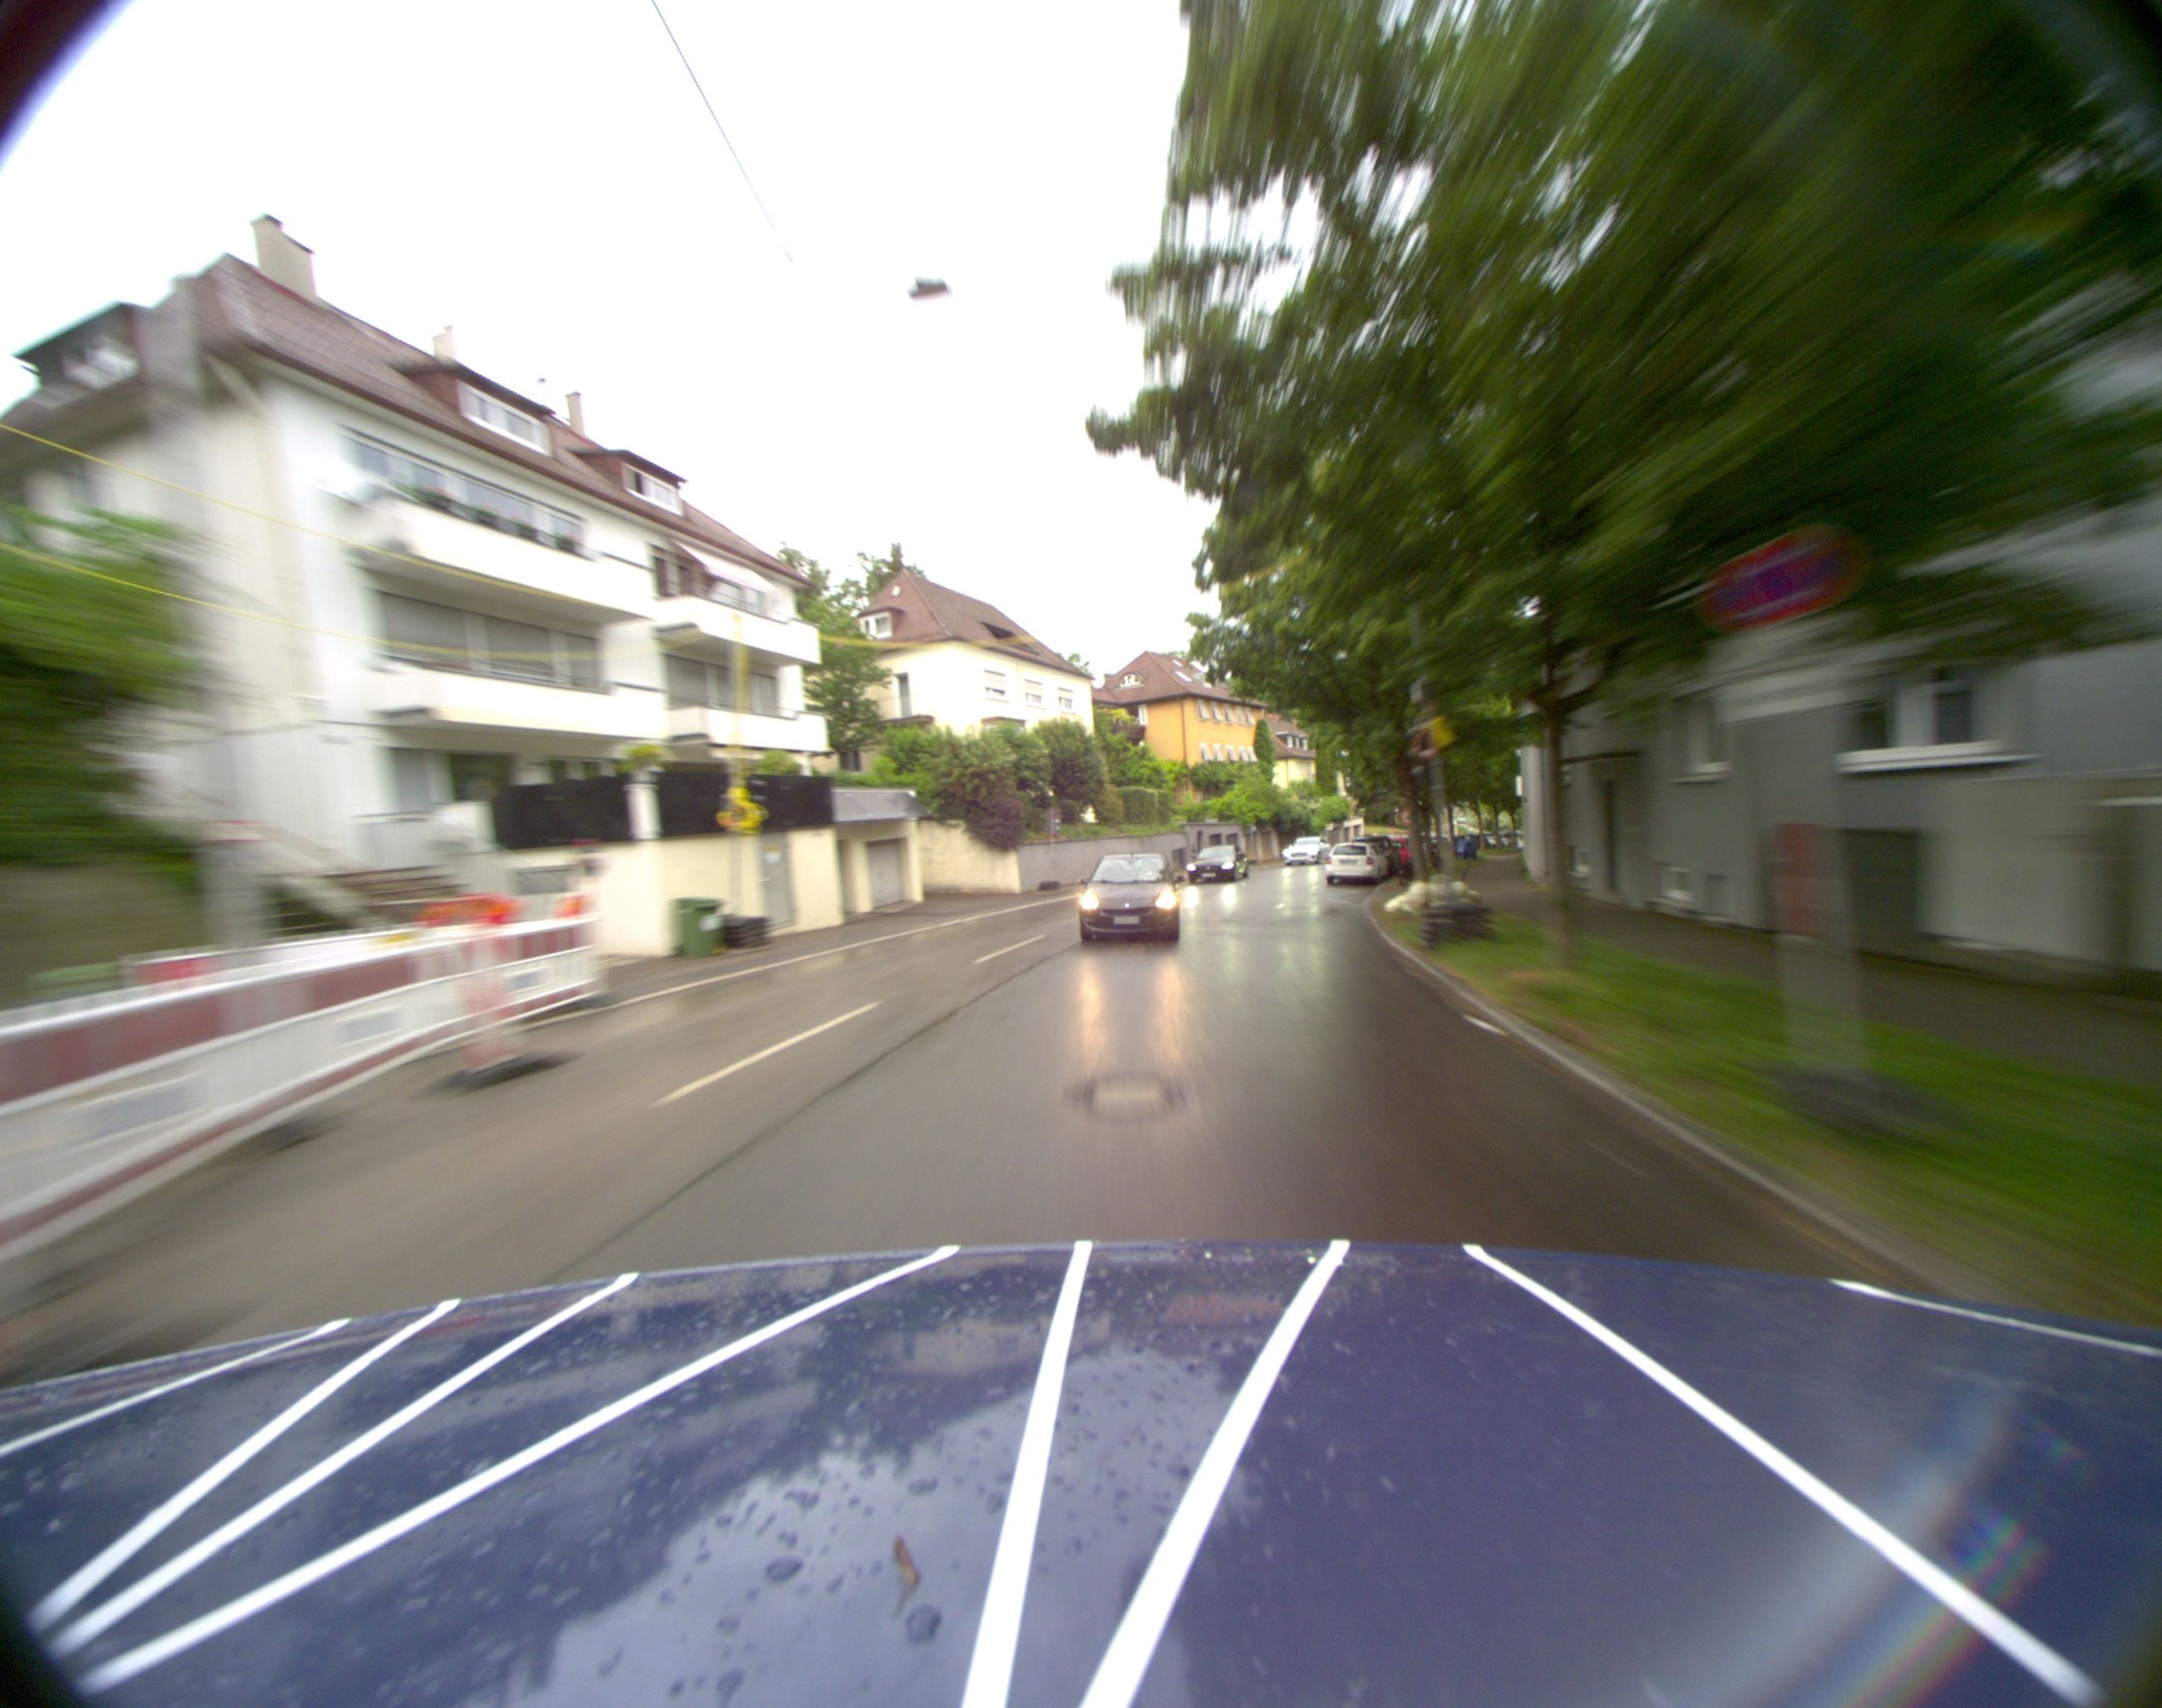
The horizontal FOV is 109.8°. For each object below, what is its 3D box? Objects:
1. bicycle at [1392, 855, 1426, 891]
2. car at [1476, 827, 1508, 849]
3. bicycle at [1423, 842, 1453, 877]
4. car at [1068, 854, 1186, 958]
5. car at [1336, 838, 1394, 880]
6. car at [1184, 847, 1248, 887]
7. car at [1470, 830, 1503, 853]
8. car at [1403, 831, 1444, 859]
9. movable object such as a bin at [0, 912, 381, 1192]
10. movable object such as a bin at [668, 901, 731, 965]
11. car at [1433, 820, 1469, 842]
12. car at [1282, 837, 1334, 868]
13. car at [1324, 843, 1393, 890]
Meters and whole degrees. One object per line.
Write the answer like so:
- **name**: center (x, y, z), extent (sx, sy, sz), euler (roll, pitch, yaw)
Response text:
- **bicycle**: center (10.378, 0.595, 24.020), extent (0.435, 1.024, 1.909), euler (-2, 1, 40)
- **car**: center (35.529, -1.410, 65.676), extent (1.592, 1.650, 3.930), euler (5, 6, 39)
- **bicycle**: center (13.714, 0.200, 29.164), extent (0.619, 1.244, 1.909), euler (-2, 1, 37)
- **car**: center (0.963, 0.834, 13.781), extent (1.577, 1.444, 3.588), euler (-2, 3, 12)
- **car**: center (12.062, 0.148, 32.060), extent (1.683, 1.599, 4.584), euler (0, 1, 28)
- **car**: center (5.468, 0.471, 30.402), extent (1.804, 1.480, 4.023), euler (1, 1, 21)
- **car**: center (32.472, -0.999, 60.738), extent (1.618, 1.650, 3.931), euler (4, 5, 38)
- **car**: center (19.998, -0.546, 44.295), extent (1.555, 1.502, 3.389), euler (2, 3, 34)
- **movable object such as a bin**: center (-7.521, 1.341, 4.902), extent (1.998, 1.510, 4.002), euler (-4, 0, 6)
- **movable object such as a bin**: center (-6.574, 1.351, 13.110), extent (0.720, 1.026, 0.593), euler (-2, 2, 23)
- **car**: center (25.521, -1.587, 52.410), extent (1.574, 1.480, 3.476), euler (3, 3, 37)
- **car**: center (13.722, -0.128, 45.831), extent (2.008, 1.652, 4.453), euler (0, 2, 30)
- **car**: center (10.130, 0.396, 27.574), extent (1.682, 1.500, 4.323), euler (0, 2, 29)
